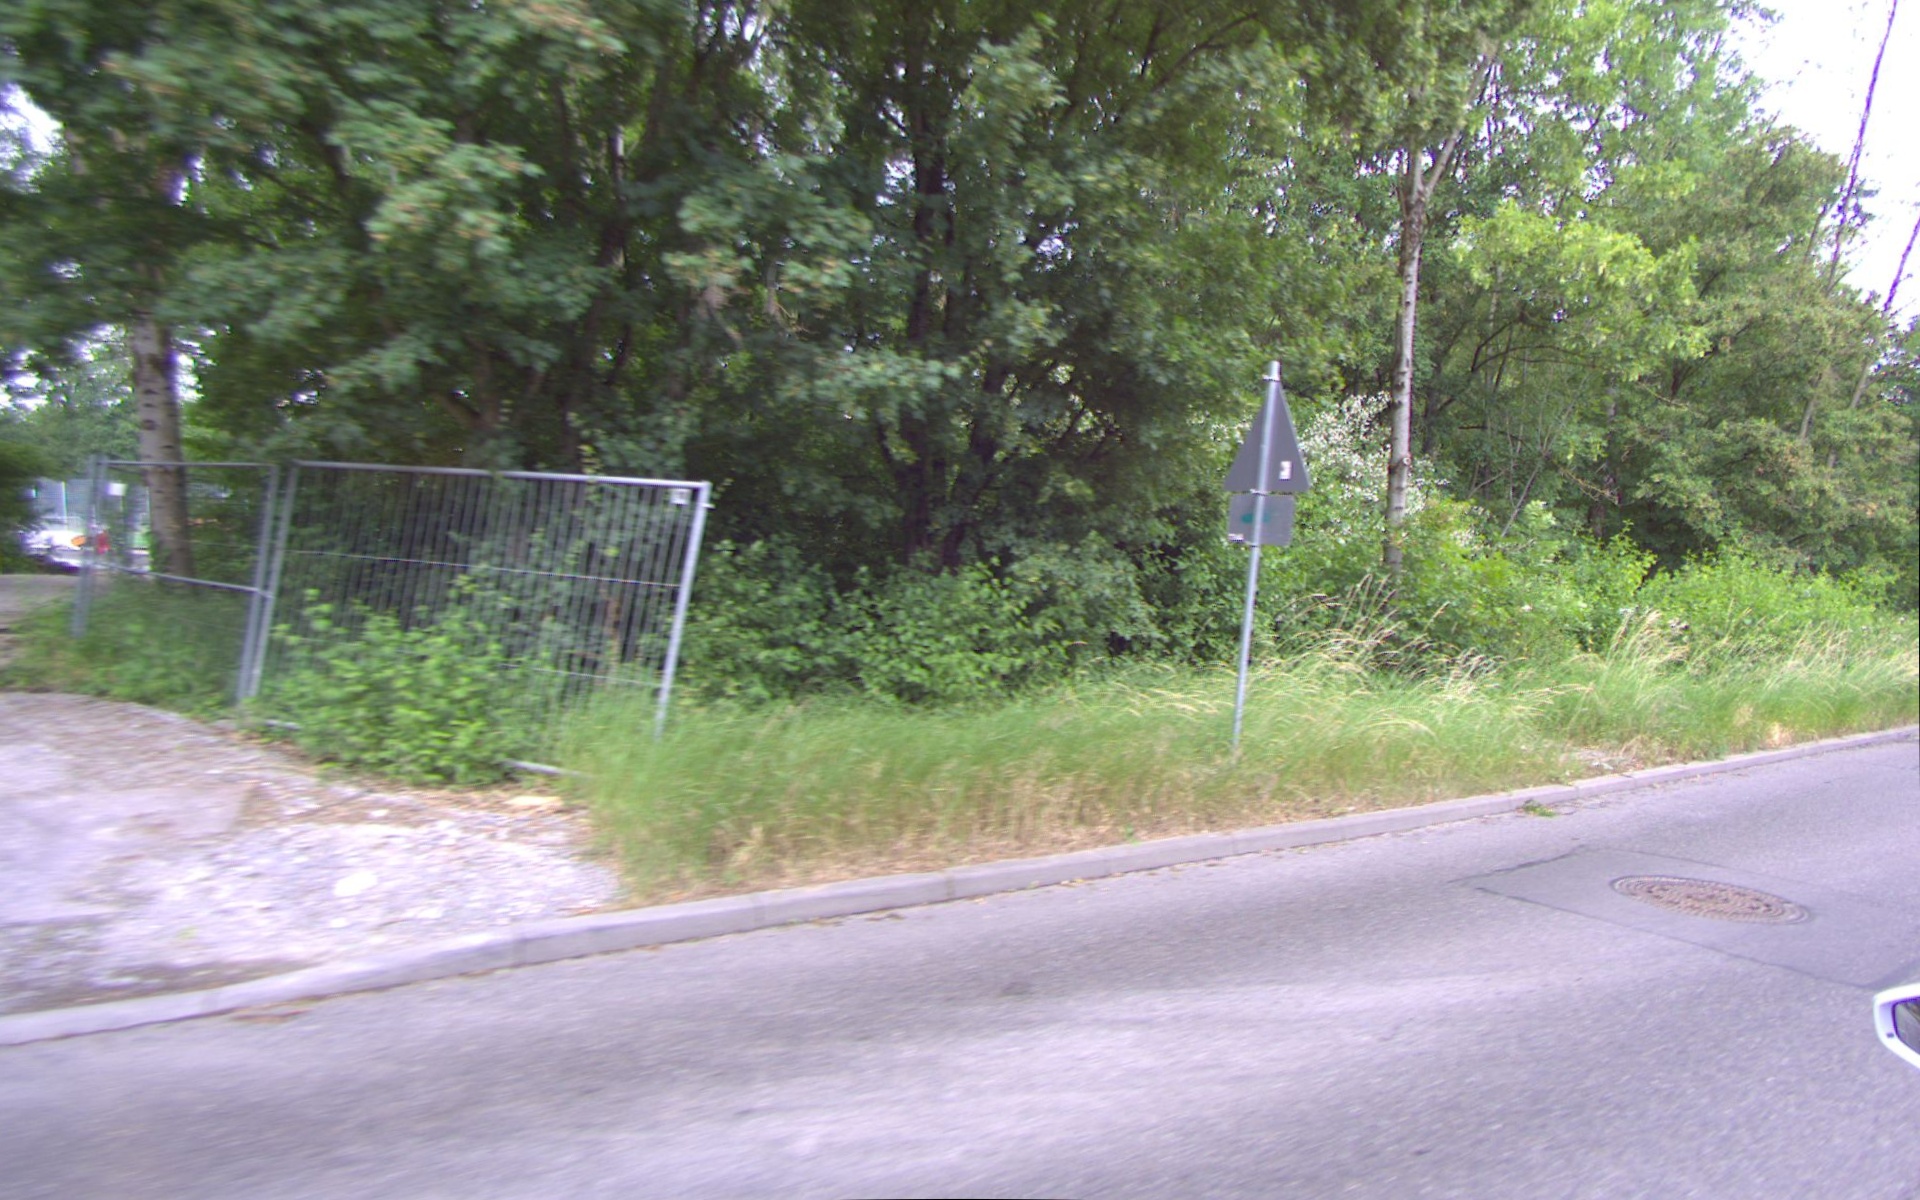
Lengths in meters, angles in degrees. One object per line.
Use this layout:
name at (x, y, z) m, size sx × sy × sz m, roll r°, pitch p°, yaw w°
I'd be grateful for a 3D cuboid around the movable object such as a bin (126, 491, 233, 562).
movable object such as a bin at (-31.018, -2.927, 39.905) m, size 3.931 × 2.626 × 2.151 m, roll 4°, pitch 2°, yaw 32°
